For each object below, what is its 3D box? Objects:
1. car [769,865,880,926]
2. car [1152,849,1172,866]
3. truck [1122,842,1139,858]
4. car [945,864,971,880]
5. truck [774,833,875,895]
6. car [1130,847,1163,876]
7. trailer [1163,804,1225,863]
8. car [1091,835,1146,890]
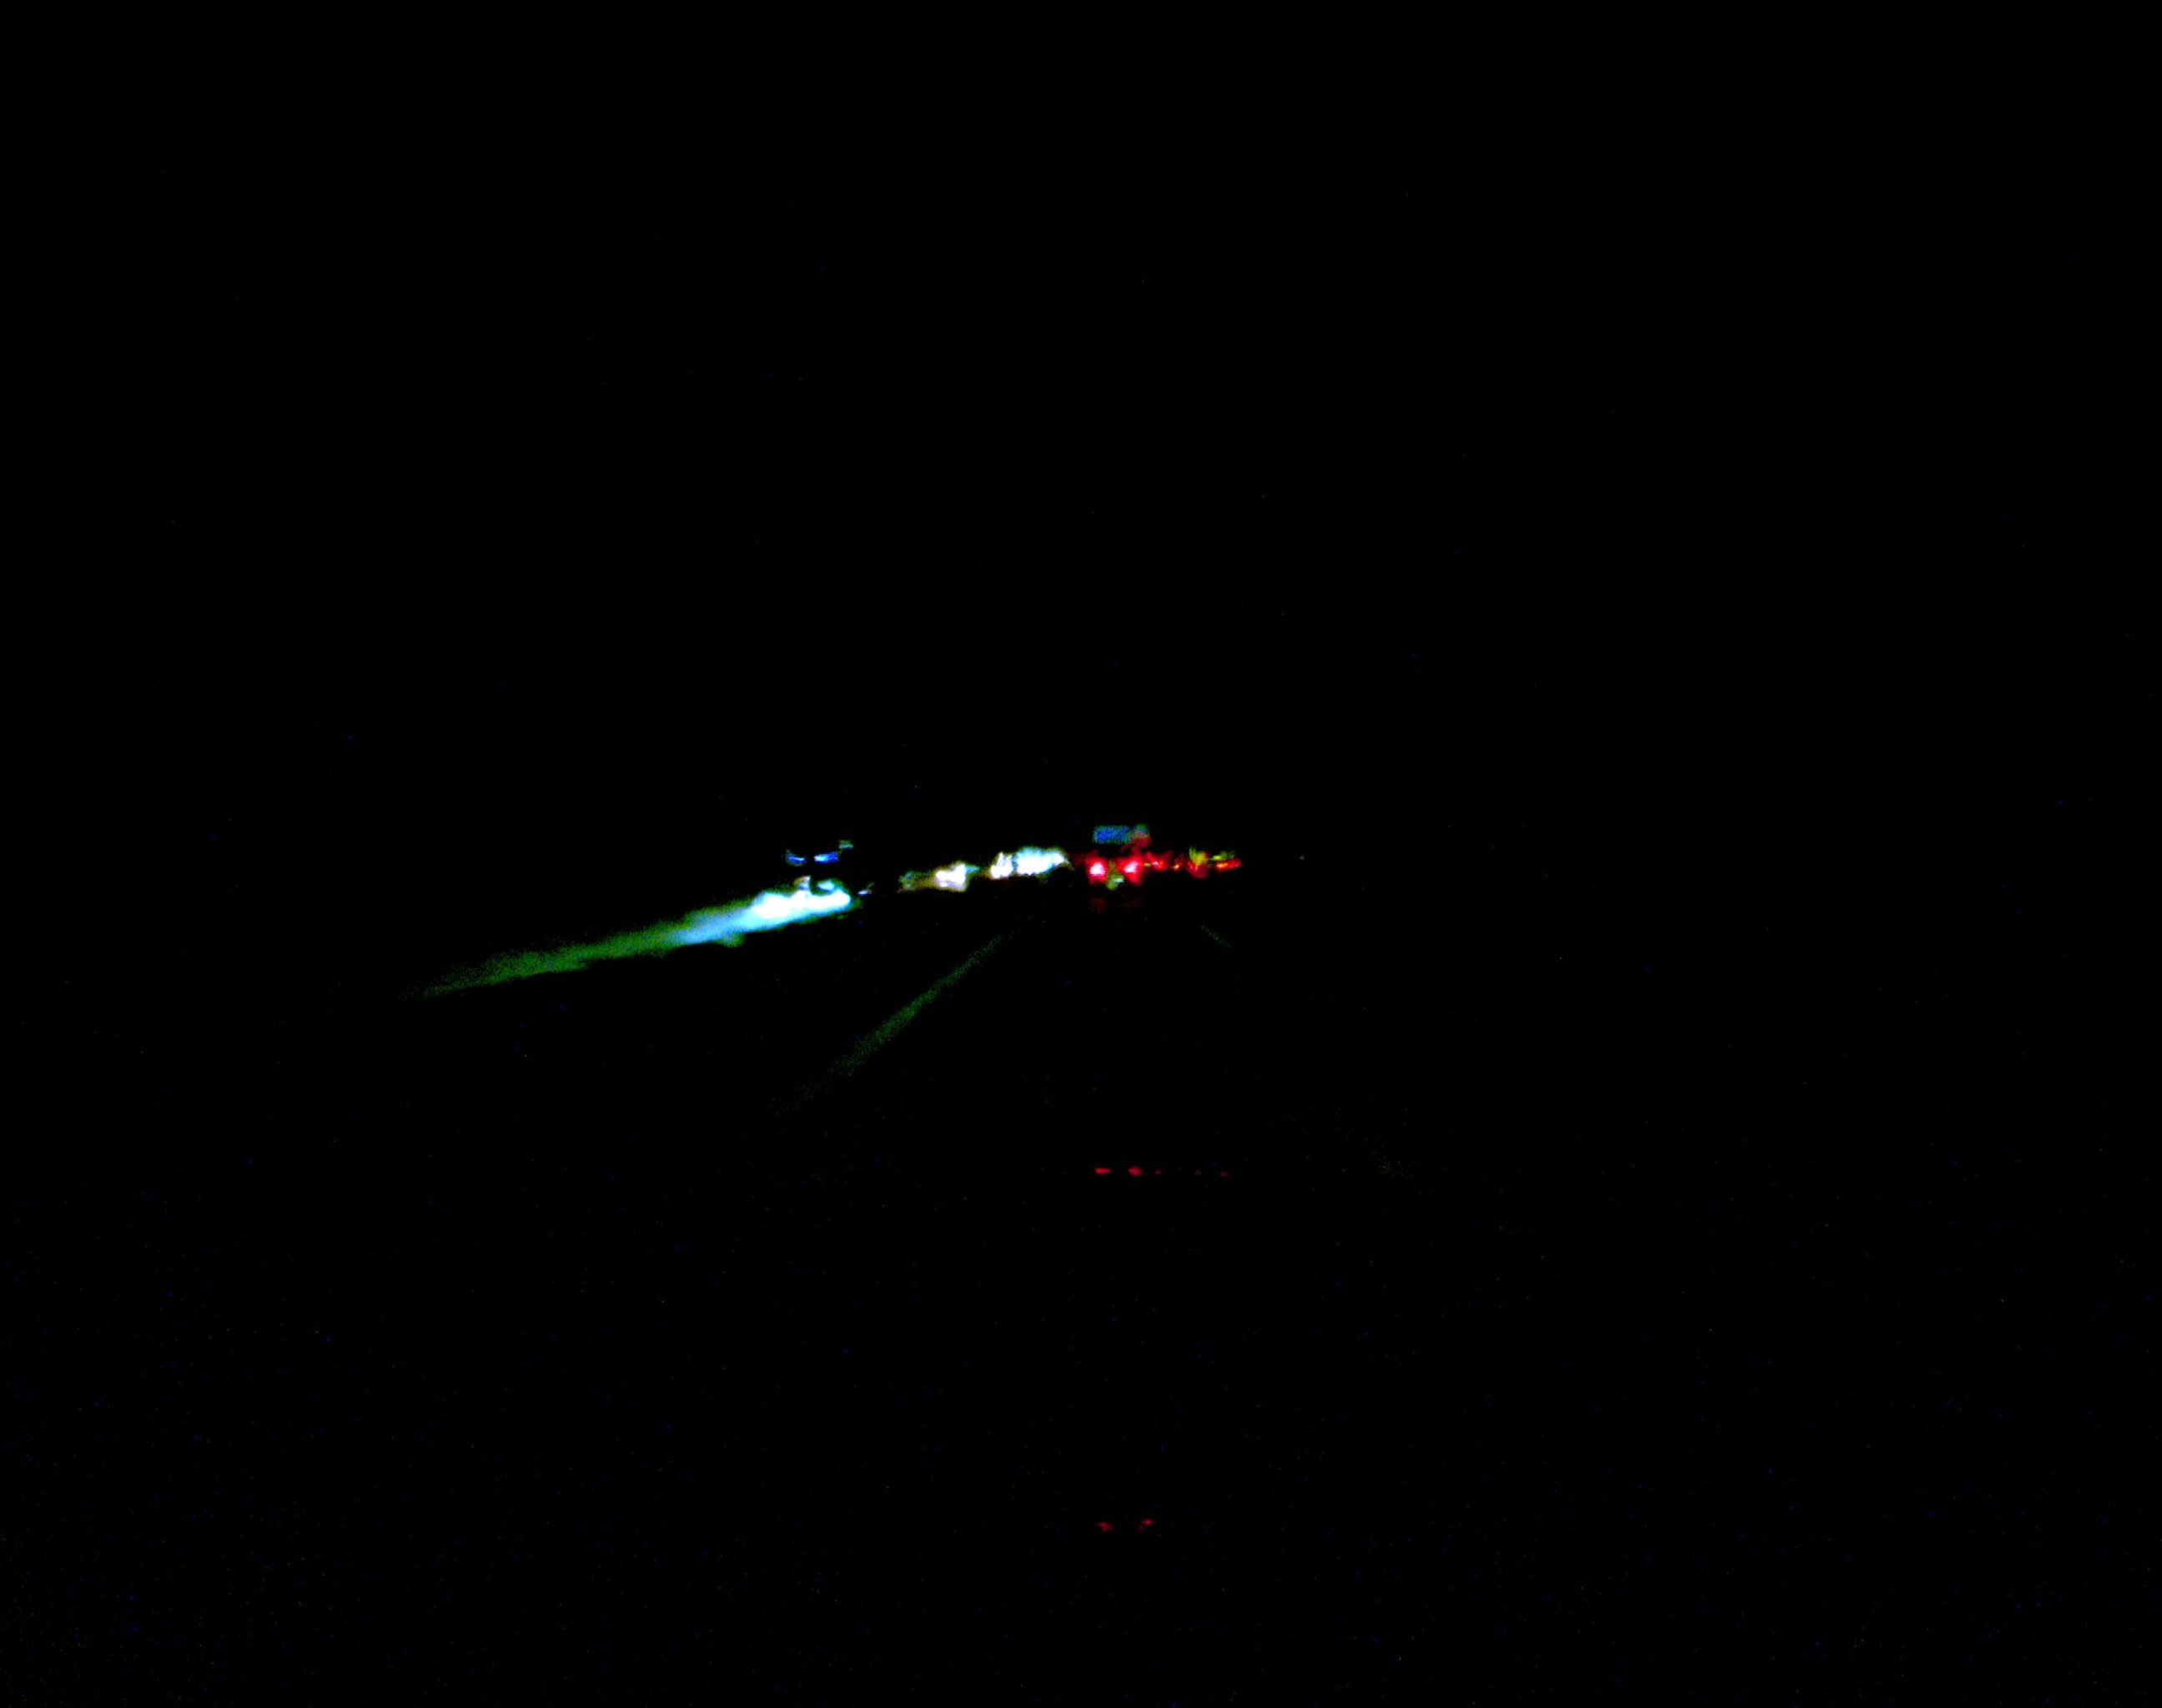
[{"bbox_3d":[-8.108,1.253,26.216,1.909,1.684,4.508,-3,-1,2],"label":"car"},{"bbox_3d":[10.146,0.433,102.388,1.988,2.013,3.997,-3,0,-2],"label":"car"},{"bbox_3d":[10.873,-0.843,179.344,3.027,3.297,11.380,-3,0,1],"label":"truck"},{"bbox_3d":[-13.347,1.942,88.560,1.909,1.684,4.508,-3,-1,2],"label":"car"},{"bbox_3d":[-15.310,0.536,49.421,3.063,3.295,8.347,-3,0,2],"label":"truck"},{"bbox_3d":[4.912,0.543,61.672,1.988,2.013,3.997,-3,0,-2],"label":"car"},{"bbox_3d":[8.933,-1.469,66.170,3.031,4.108,13.828,-3,0,1],"label":"trailer"},{"bbox_3d":[1.409,0.318,32.139,1.987,2.014,4.000,-1,-1,0],"label":"car"}]
